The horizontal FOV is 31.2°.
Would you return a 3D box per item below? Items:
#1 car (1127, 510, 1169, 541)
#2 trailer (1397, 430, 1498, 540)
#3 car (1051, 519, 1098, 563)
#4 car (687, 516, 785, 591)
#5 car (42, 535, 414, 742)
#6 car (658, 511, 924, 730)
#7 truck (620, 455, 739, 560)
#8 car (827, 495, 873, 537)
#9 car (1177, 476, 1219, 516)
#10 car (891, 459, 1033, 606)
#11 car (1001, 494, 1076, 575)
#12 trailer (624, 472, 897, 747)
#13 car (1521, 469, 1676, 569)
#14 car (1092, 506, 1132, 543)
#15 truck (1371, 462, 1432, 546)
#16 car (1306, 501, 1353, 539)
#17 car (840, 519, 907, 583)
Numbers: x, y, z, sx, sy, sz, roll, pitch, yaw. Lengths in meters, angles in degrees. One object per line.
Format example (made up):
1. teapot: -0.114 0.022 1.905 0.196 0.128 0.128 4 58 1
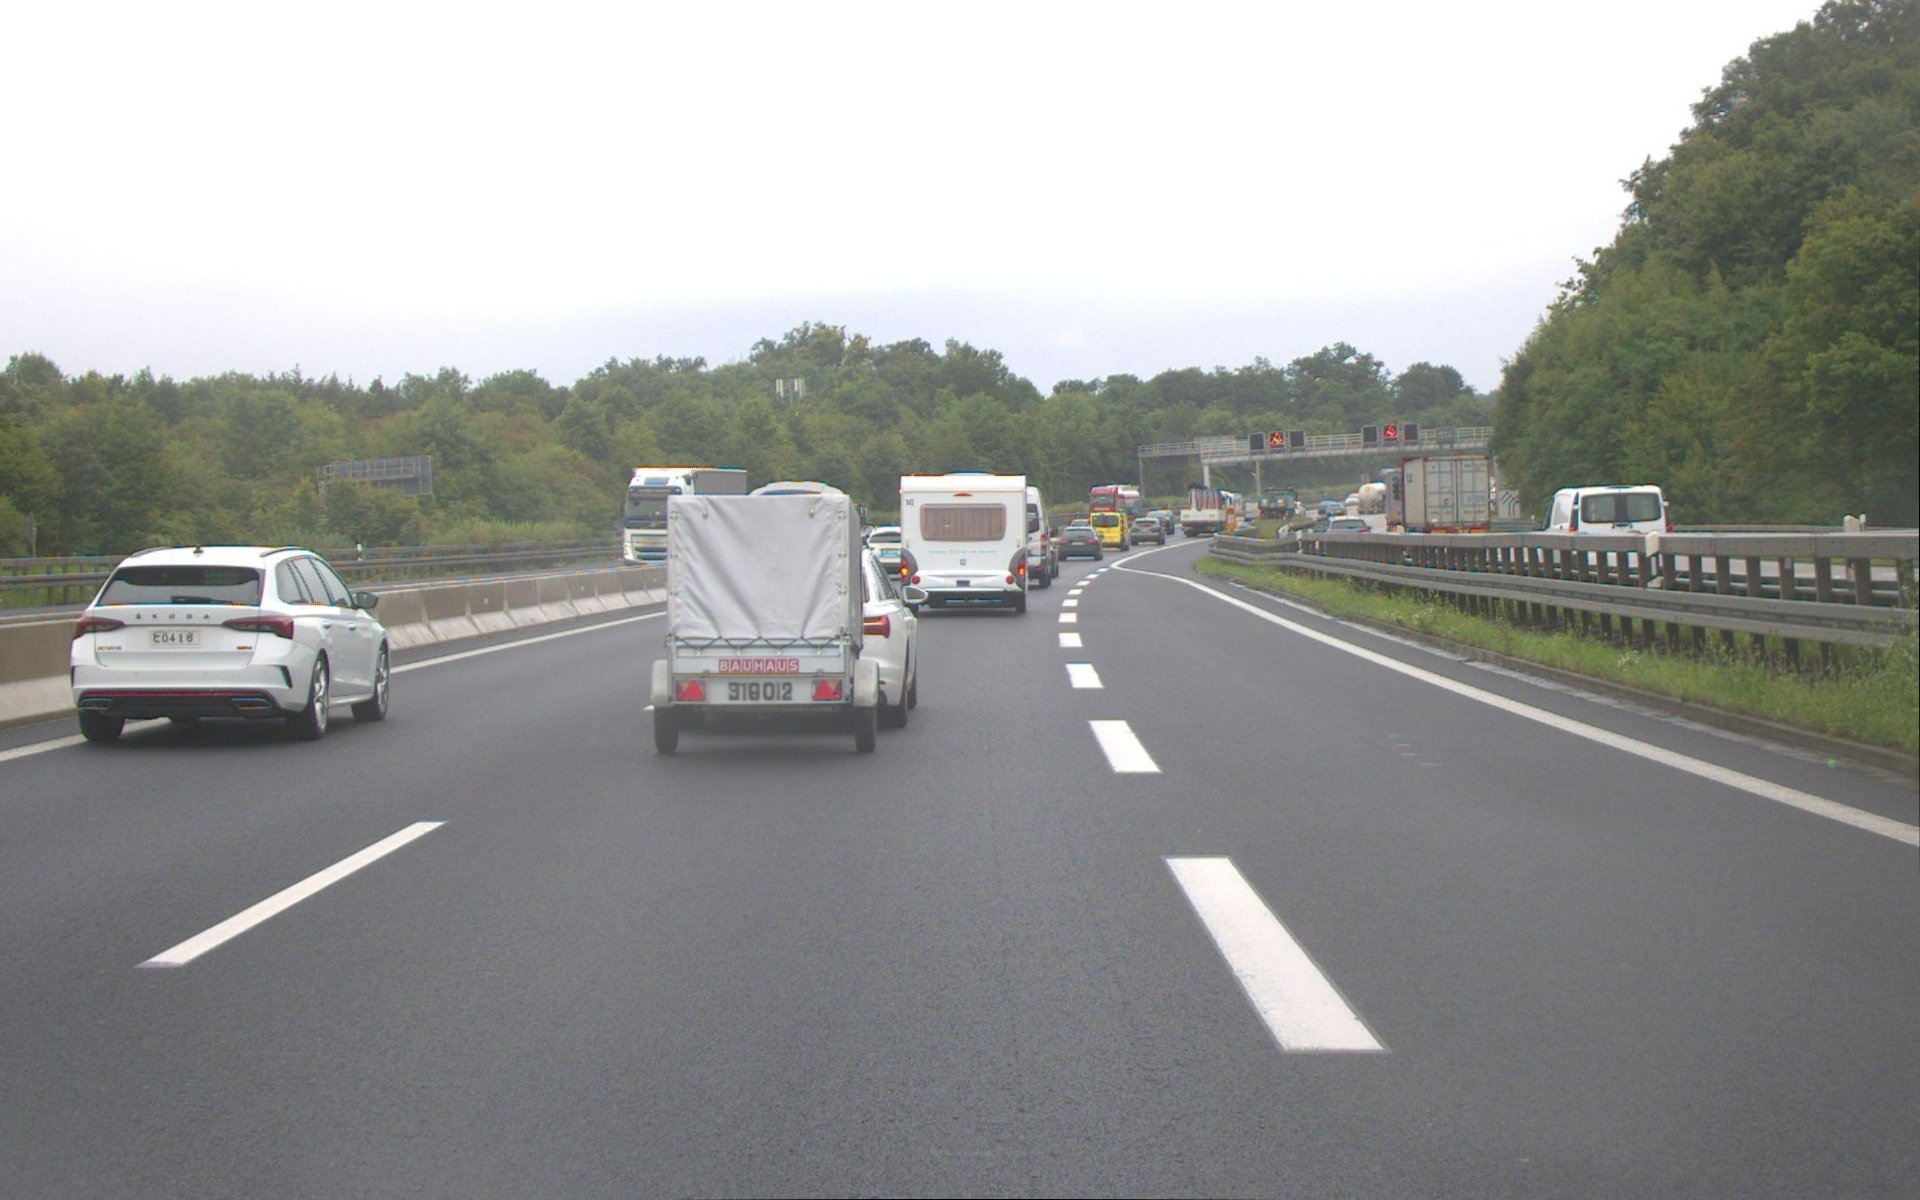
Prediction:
1. car: 10.893 -4.295 198.744 2.038 1.677 3.999 -1 1 8
2. trailer: 18.644 -4.319 132.106 2.604 3.881 12.490 -1 1 3
3. car: 4.838 -2.481 144.709 1.676 1.806 3.999 -1 1 6
4. car: -4.545 -0.944 70.276 1.676 1.451 4.000 -1 1 1
5. car: -5.640 0.251 27.078 1.818 1.451 4.778 -1 1 1
6. car: -1.294 0.128 28.200 1.818 1.610 4.778 -1 1 1
7. truck: -11.385 -3.686 140.792 2.788 4.078 12.297 -1 1 5
8. car: -5.272 -4.017 165.189 1.738 1.912 4.316 -1 1 4
9. car: 16.461 -7.169 237.315 2.516 2.566 5.310 -1 1 7
10. car: 0.070 -1.233 64.369 2.507 2.576 5.699 -1 1 1
11. car: 2.090 -1.710 90.605 1.676 2.060 3.999 -1 1 5
12. trailer: -1.364 0.043 24.884 1.676 1.806 4.000 -1 1 1
13. car: 11.283 -1.407 61.046 1.909 1.688 4.719 -1 1 1
14. car: 7.743 -3.846 174.891 1.676 1.806 3.999 -1 1 7
15. truck: 25.622 -5.510 199.960 3.216 4.650 13.030 -1 1 6
16. car: 14.211 -3.065 132.413 1.667 1.378 4.125 -3 1 5
17. car: -2.654 -1.495 106.090 1.993 1.912 4.000 -1 1 -1
